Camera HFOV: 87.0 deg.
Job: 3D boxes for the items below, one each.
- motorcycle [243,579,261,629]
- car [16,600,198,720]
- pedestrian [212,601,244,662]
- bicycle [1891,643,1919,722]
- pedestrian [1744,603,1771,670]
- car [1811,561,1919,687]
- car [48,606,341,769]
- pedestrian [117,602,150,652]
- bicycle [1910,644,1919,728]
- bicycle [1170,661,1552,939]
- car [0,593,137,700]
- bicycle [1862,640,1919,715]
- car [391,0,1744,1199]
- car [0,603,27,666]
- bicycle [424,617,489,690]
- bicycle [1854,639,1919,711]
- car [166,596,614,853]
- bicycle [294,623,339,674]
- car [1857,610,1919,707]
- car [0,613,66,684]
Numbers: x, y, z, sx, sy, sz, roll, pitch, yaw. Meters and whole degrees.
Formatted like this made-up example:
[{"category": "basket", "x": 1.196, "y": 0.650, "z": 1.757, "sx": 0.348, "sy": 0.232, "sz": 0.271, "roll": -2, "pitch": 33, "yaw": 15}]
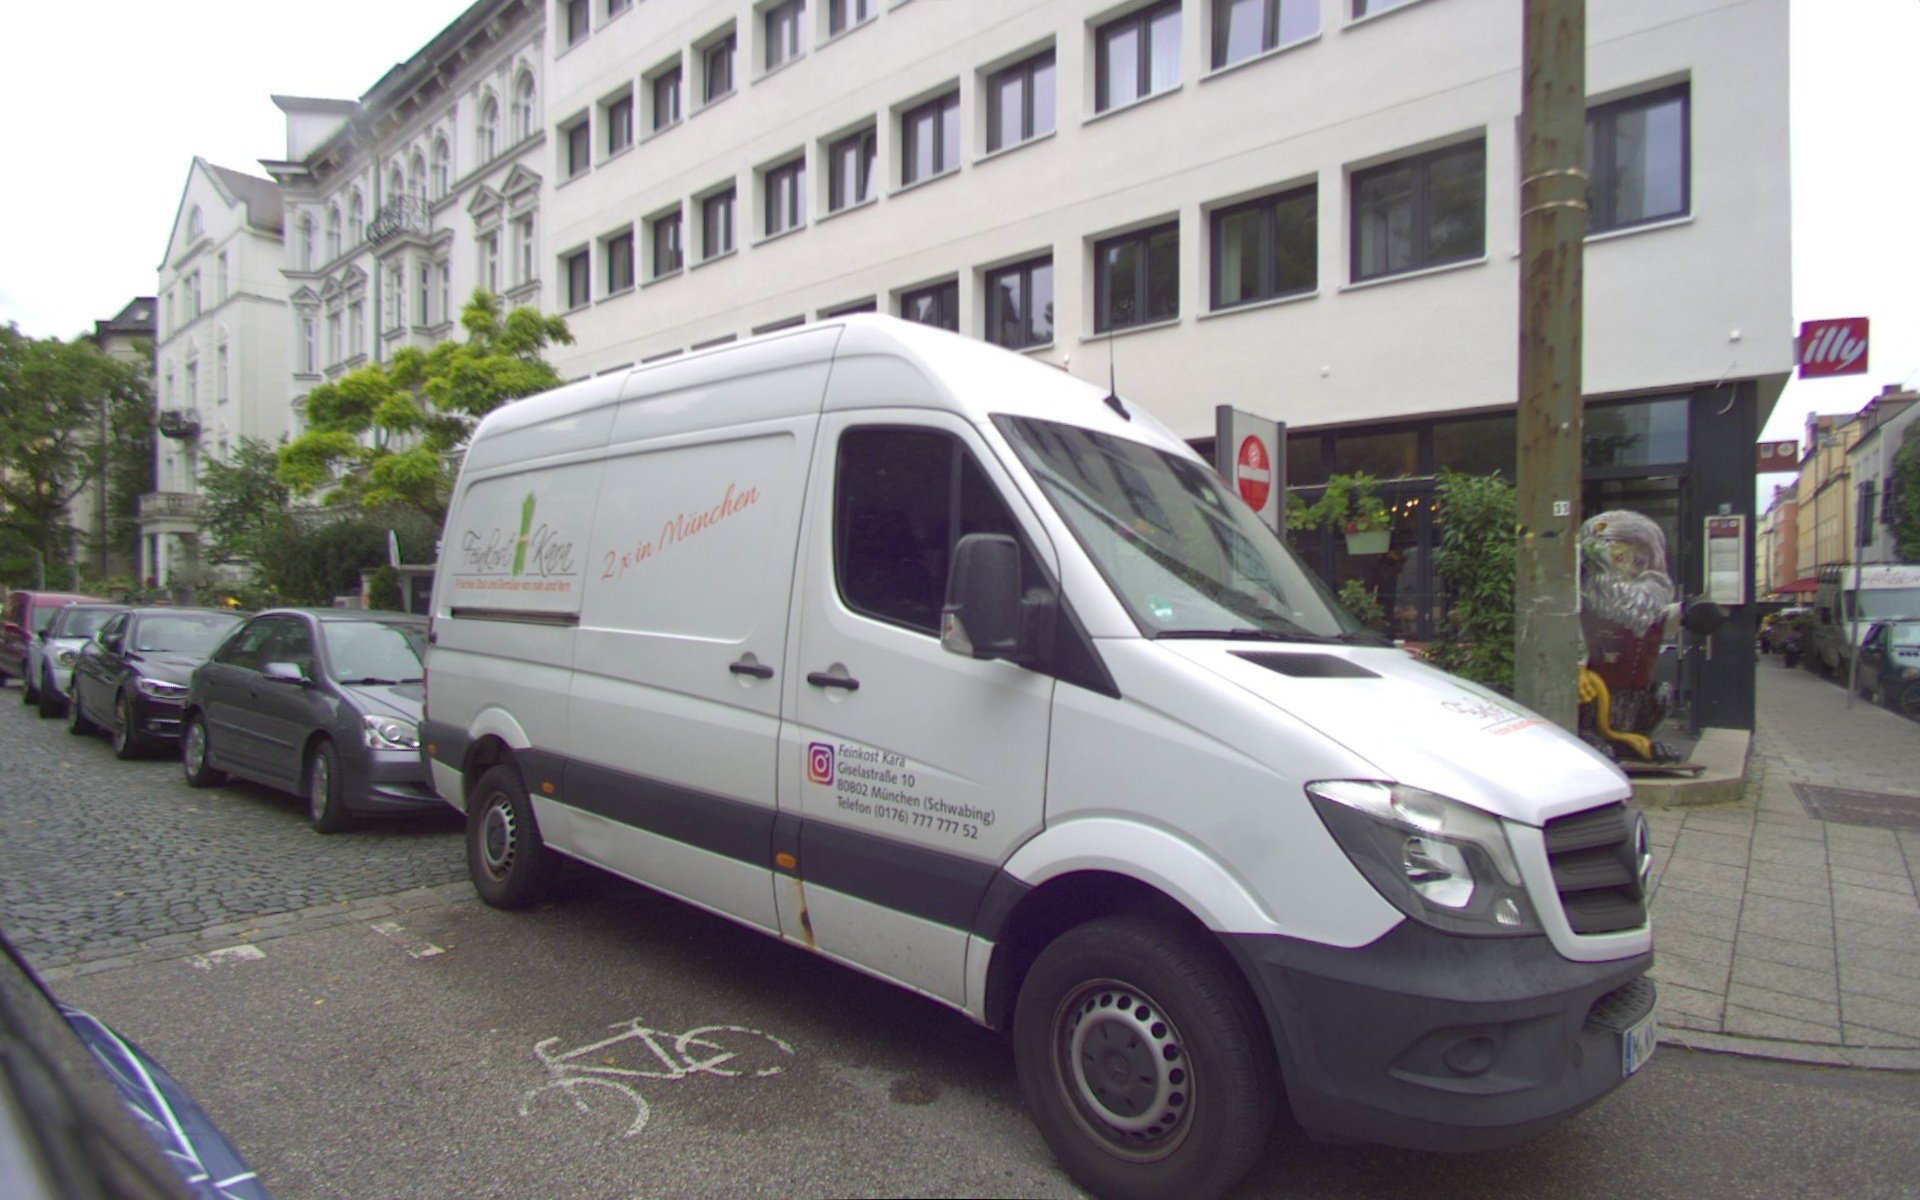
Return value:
[{"category": "motorcycle", "x": -17.261, "y": 0.088, "z": 24.680, "sx": 0.326, "sy": 1.188, "sz": 1.629, "roll": 0, "pitch": 0, "yaw": -34}, {"category": "car", "x": -12.435, "y": 0.753, "z": 14.679, "sx": 3.778, "sy": 1.515, "sz": 1.674, "roll": 0, "pitch": 0, "yaw": 44}, {"category": "pedestrian", "x": -20.104, "y": 0.863, "z": 27.798, "sx": 0.569, "sy": 1.659, "sz": 0.822, "roll": 2, "pitch": -2, "yaw": -43}, {"category": "bicycle", "x": 12.743, "y": 1.040, "z": 12.420, "sx": 1.890, "sy": 0.975, "sz": 0.394, "roll": 0, "pitch": 0, "yaw": 35}, {"category": "pedestrian", "x": 21.146, "y": 0.951, "z": 26.837, "sx": 0.521, "sy": 1.753, "sz": 0.487, "roll": -1, "pitch": -1, "yaw": 36}, {"category": "car", "x": 20.180, "y": 0.444, "z": 22.014, "sx": 1.960, "sy": 2.406, "sz": 6.408, "roll": 0, "pitch": 0, "yaw": 35}, {"category": "car", "x": -8.676, "y": 0.842, "z": 11.318, "sx": 4.471, "sy": 1.476, "sz": 1.707, "roll": 0, "pitch": -3, "yaw": 41}, {"category": "pedestrian", "x": -27.325, "y": 0.889, "z": 33.477, "sx": 0.655, "sy": 1.640, "sz": 0.671, "roll": 0, "pitch": 0, "yaw": -18}, {"category": "bicycle", "x": 12.272, "y": 1.032, "z": 11.664, "sx": 1.890, "sy": 0.975, "sz": 0.394, "roll": 0, "pitch": 0, "yaw": 35}, {"category": "bicycle", "x": 1.936, "y": 0.916, "z": 5.116, "sx": 1.805, "sy": 1.135, "sz": 0.252, "roll": 0, "pitch": 0, "yaw": 40}, {"category": "car", "x": -16.485, "y": 0.770, "z": 18.374, "sx": 3.896, "sy": 1.736, "sz": 1.700, "roll": 0, "pitch": -2, "yaw": 40}, {"category": "bicycle", "x": 13.355, "y": 1.053, "z": 13.532, "sx": 1.890, "sy": 0.975, "sz": 0.394, "roll": 0, "pitch": 0, "yaw": 35}, {"category": "car", "x": -0.290, "y": 0.106, "z": 4.421, "sx": 5.791, "sy": 2.593, "sz": 1.956, "roll": 0, "pitch": -2, "yaw": 41}, {"category": "car", "x": -25.911, "y": 0.876, "z": 26.470, "sx": 4.064, "sy": 1.584, "sz": 1.673, "roll": 0, "pitch": 0, "yaw": 39}, {"category": "bicycle", "x": -8.732, "y": 0.902, "z": 17.512, "sx": 1.911, "sy": 1.183, "sz": 0.356, "roll": 0, "pitch": 0, "yaw": 43}, {"category": "bicycle", "x": 13.725, "y": 1.056, "z": 14.083, "sx": 1.890, "sy": 0.975, "sz": 0.394, "roll": 0, "pitch": 0, "yaw": 35}, {"category": "car", "x": -4.515, "y": 0.723, "z": 7.787, "sx": 3.977, "sy": 1.494, "sz": 1.645, "roll": 0, "pitch": 0, "yaw": 38}, {"category": "bicycle", "x": -14.214, "y": 1.065, "z": 22.344, "sx": 1.683, "sy": 1.087, "sz": 0.255, "roll": -2, "pitch": -1, "yaw": 37}, {"category": "car", "x": 15.476, "y": 0.880, "z": 16.023, "sx": 1.487, "sy": 1.418, "sz": 3.647, "roll": 0, "pitch": -1, "yaw": 35}, {"category": "car", "x": -21.161, "y": 1.021, "z": 22.284, "sx": 3.812, "sy": 1.404, "sz": 1.615, "roll": 0, "pitch": 0, "yaw": 39}]
